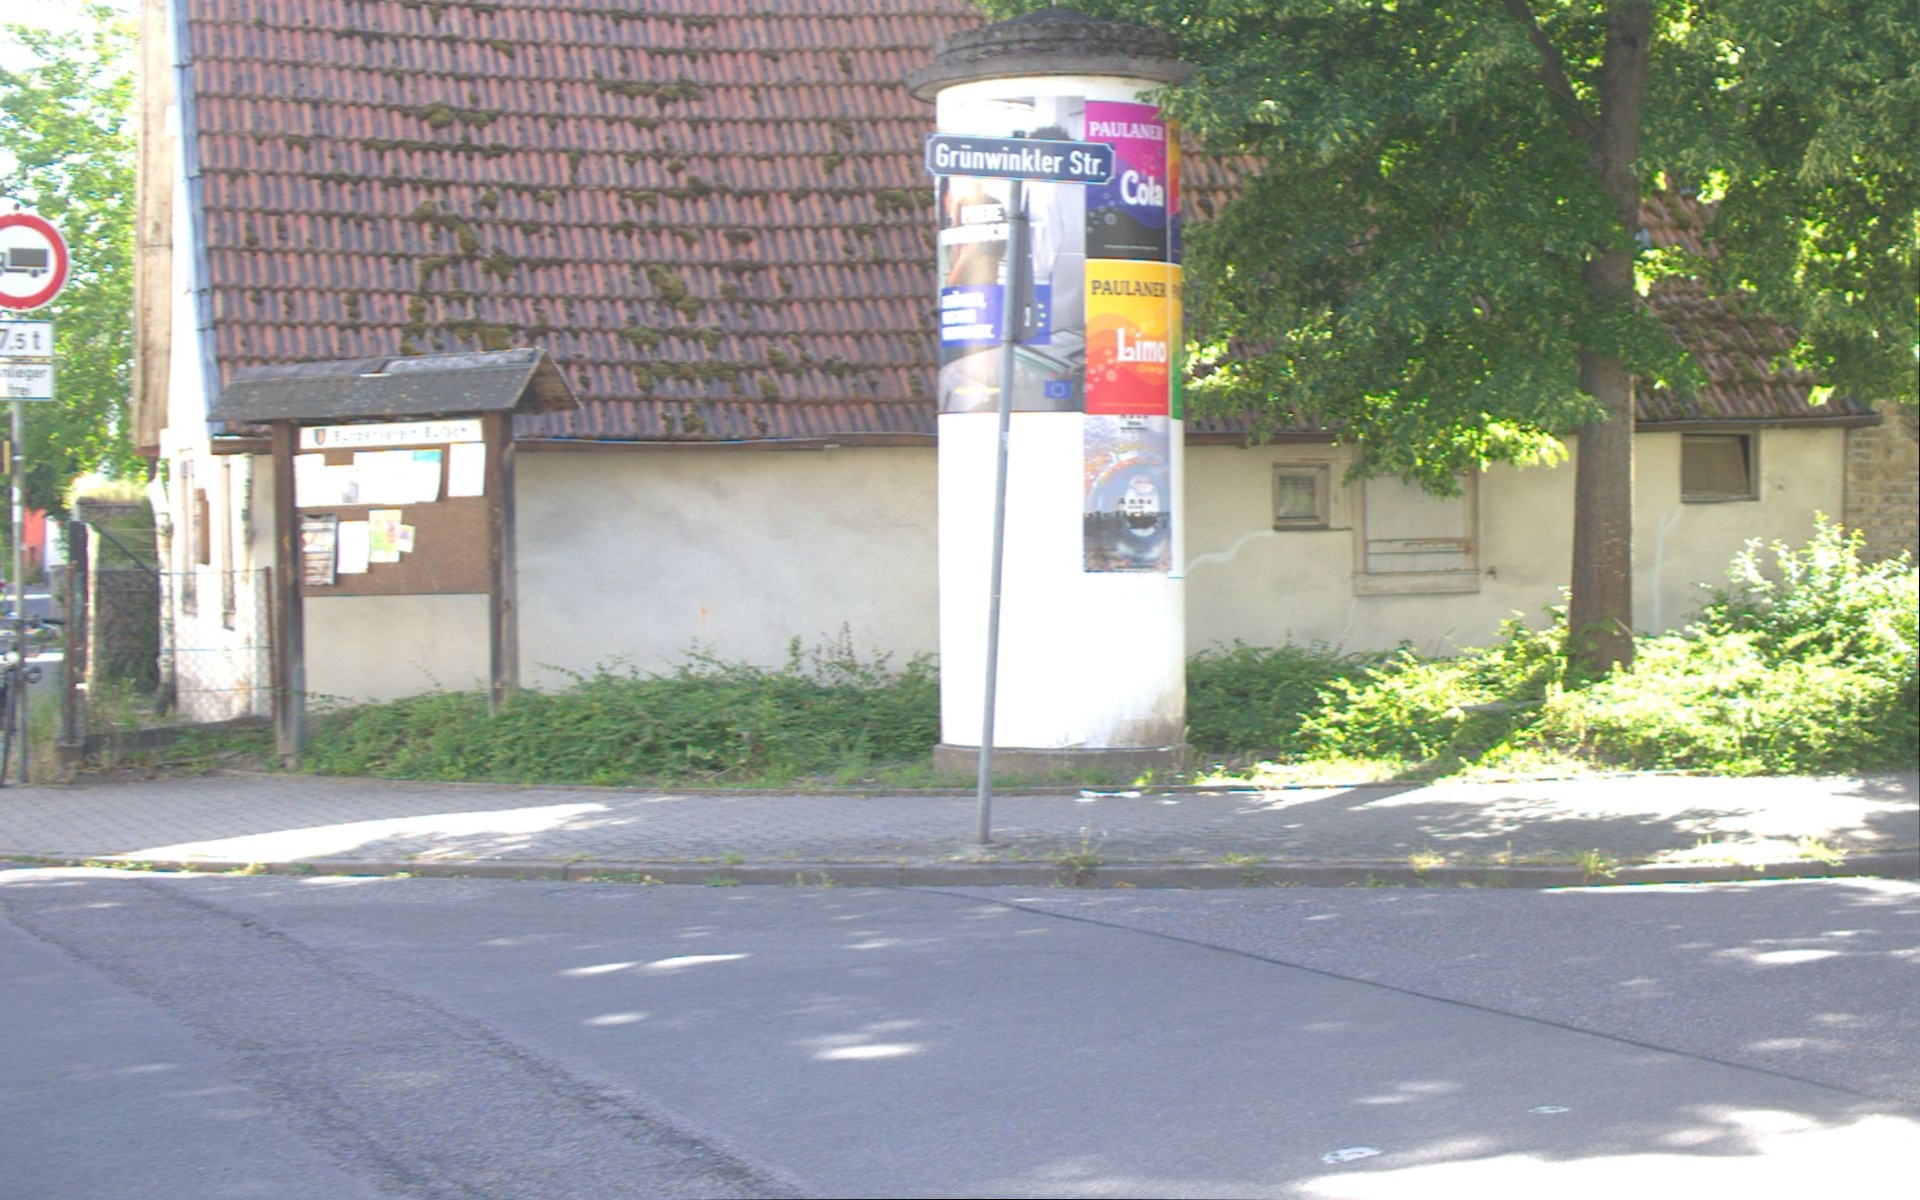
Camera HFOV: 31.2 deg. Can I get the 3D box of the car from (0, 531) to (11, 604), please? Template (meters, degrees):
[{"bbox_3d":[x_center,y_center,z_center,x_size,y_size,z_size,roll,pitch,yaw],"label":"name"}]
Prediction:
[{"bbox_3d":[-23.692,-0.782,81.806,1.972,1.708,3.996,-1,1,-18],"label":"car"}]

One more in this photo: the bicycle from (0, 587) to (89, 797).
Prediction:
[{"bbox_3d":[-5.578,0.528,20.672,0.433,1.172,1.829,-1,1,-7],"label":"bicycle"}]
